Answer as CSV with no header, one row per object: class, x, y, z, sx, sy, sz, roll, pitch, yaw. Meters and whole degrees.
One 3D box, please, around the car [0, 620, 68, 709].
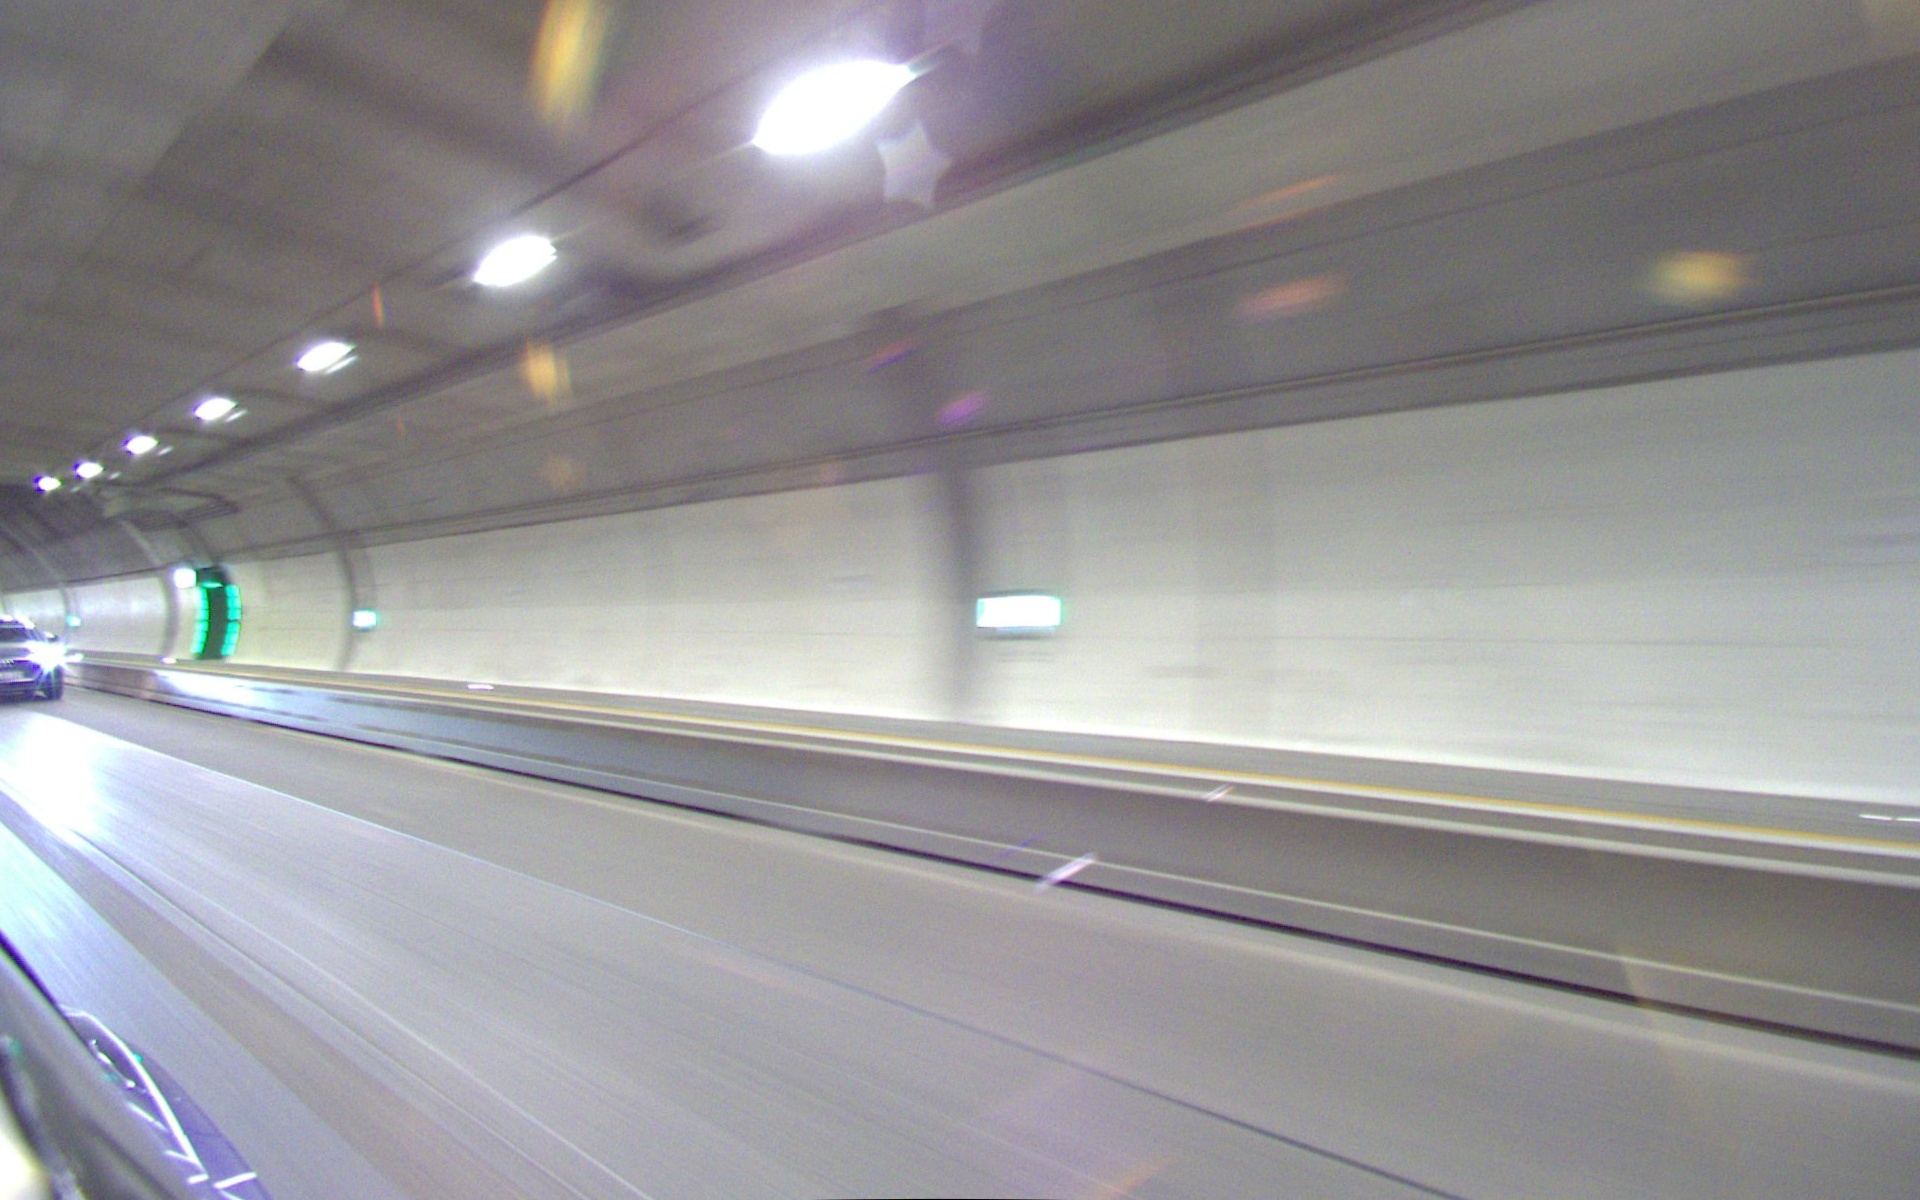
car,-18.616,1.165,19.184,4.740,1.552,1.973,-1,-1,41
